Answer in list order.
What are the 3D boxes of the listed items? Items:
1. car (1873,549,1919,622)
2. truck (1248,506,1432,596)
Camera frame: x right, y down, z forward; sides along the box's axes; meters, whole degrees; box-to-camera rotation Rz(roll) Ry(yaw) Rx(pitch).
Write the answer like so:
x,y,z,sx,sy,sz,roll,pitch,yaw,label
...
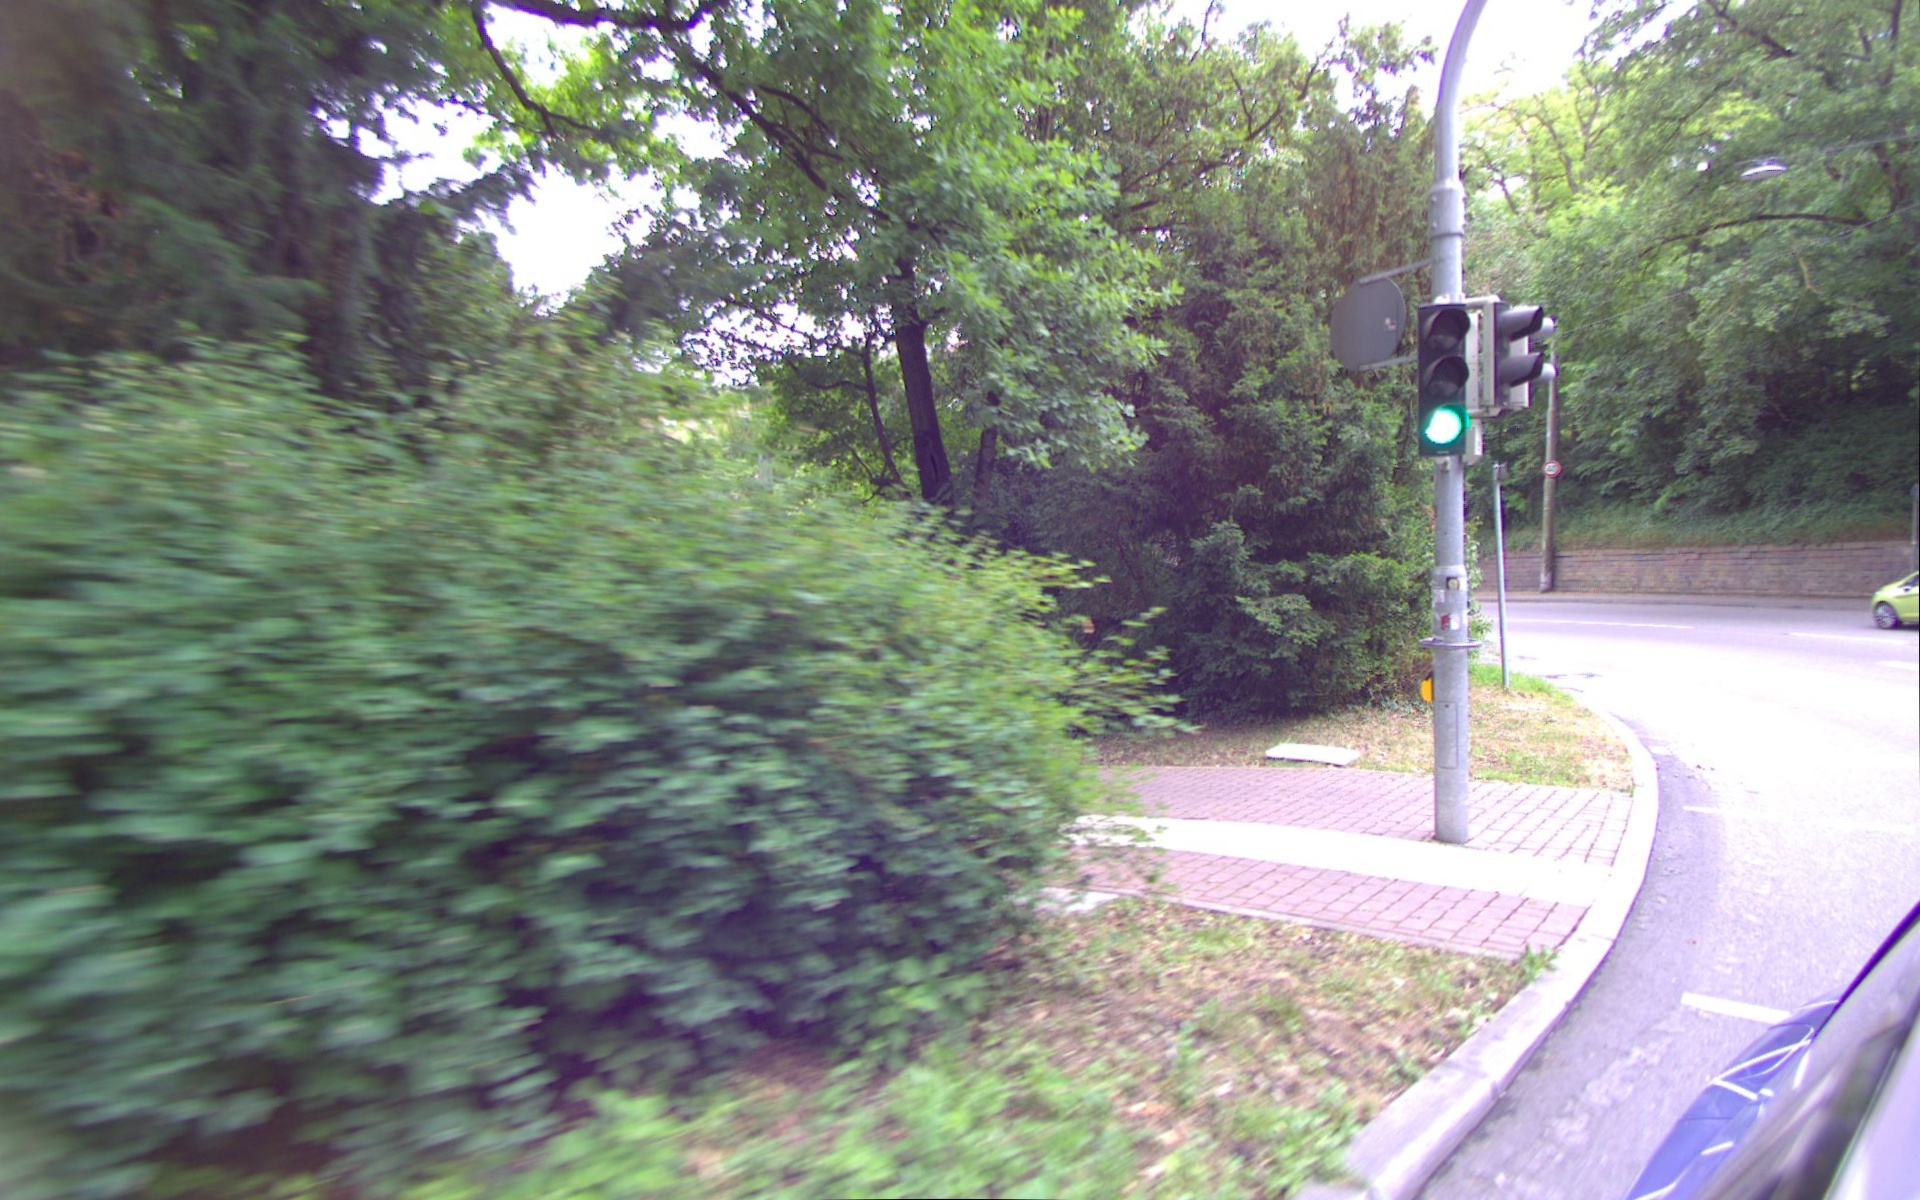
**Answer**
x,y,z,sx,sy,sz,roll,pitch,yaw,label
19.982,-0.288,19.503,1.533,1.440,3.893,-3,1,7,car
15.958,-1.950,43.204,2.702,3.340,7.596,-4,2,-23,truck
